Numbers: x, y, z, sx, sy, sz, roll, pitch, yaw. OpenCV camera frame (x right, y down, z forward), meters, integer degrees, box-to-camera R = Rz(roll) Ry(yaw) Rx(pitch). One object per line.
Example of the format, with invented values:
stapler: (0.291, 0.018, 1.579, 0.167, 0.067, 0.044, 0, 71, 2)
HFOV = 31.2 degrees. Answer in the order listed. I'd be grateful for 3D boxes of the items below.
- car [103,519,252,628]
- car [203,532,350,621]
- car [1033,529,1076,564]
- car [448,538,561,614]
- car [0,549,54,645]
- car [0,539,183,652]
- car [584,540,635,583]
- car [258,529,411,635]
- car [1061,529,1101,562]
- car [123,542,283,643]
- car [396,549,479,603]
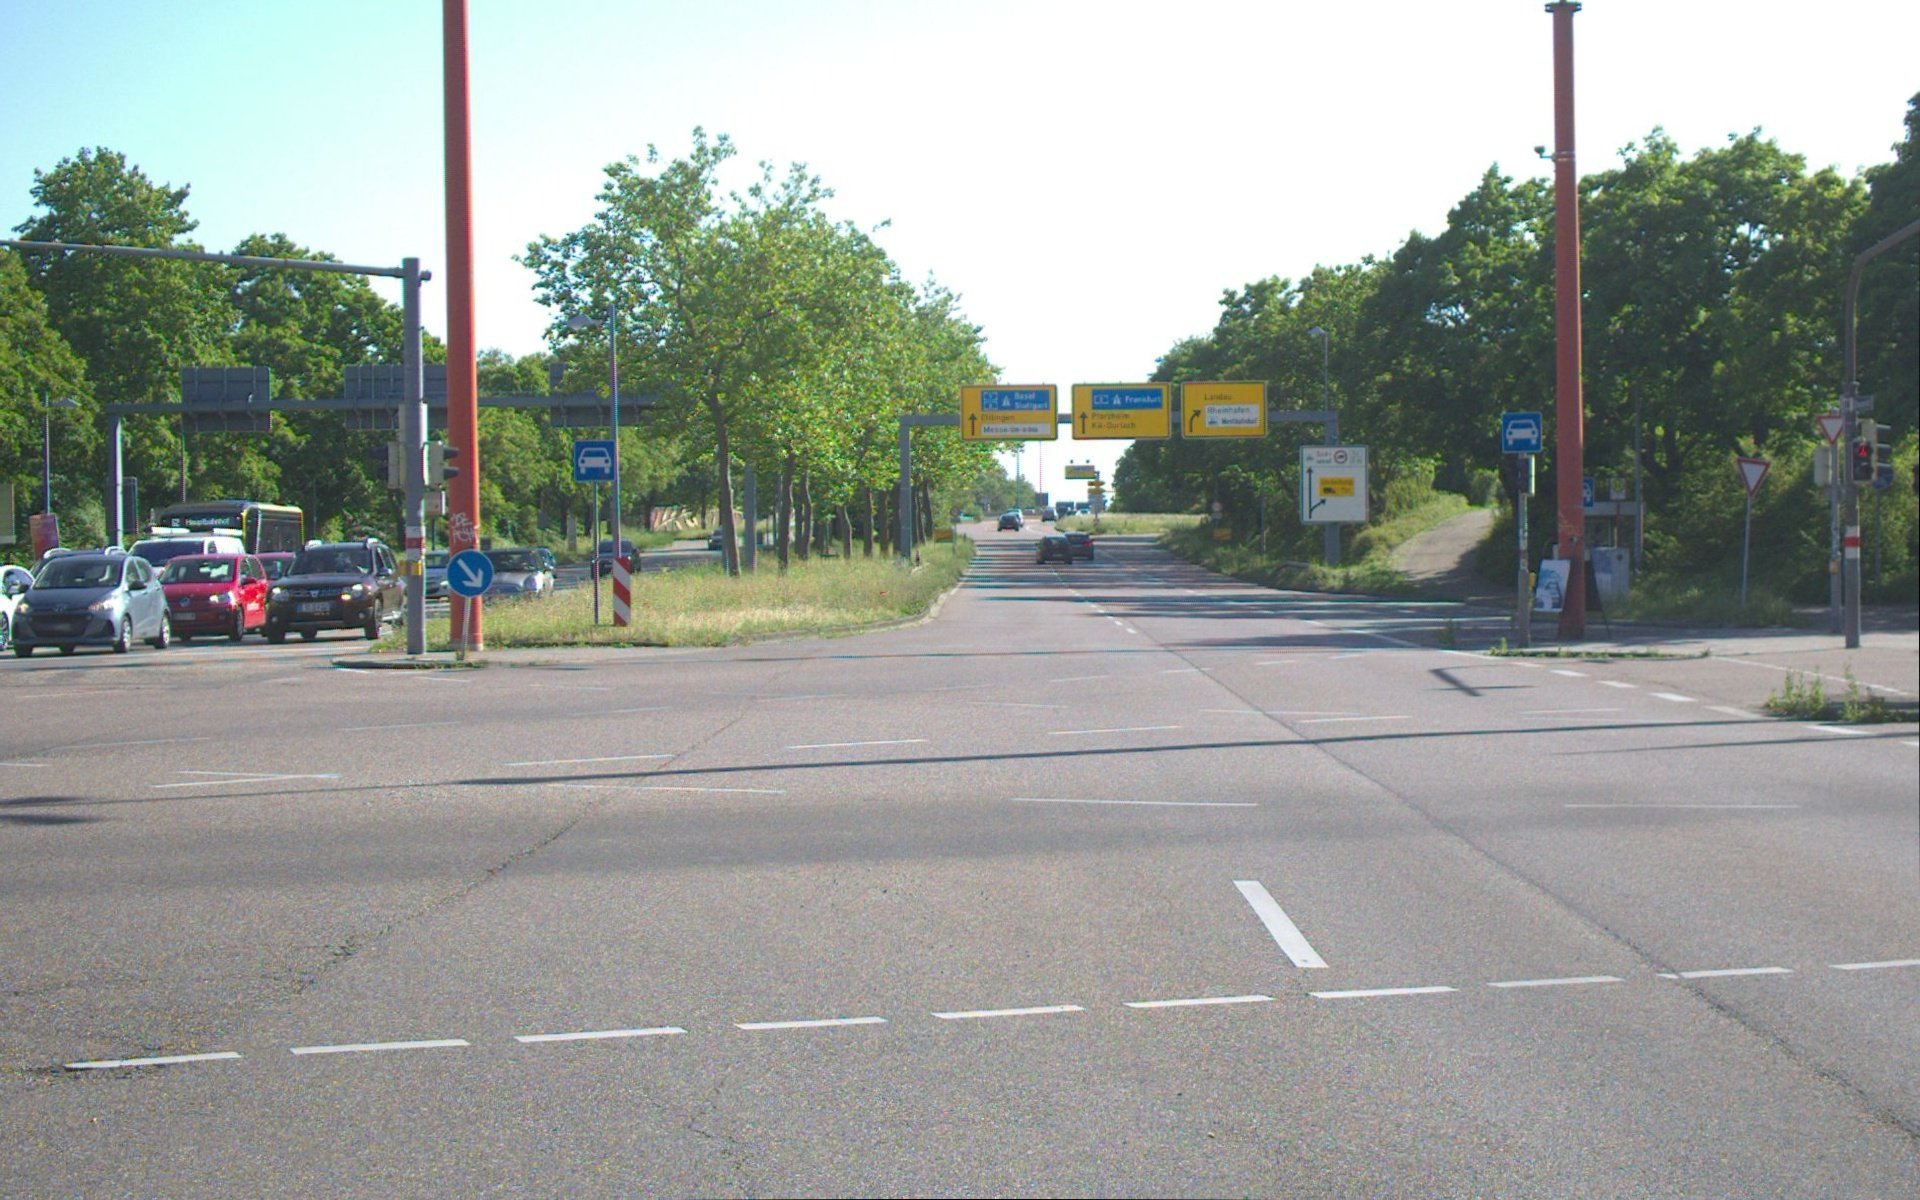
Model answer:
car: (-16.063, -0.566, 70.834, 1.961, 2.147, 5.082, -1, 1, -1)
car: (-12.802, -0.453, 64.629, 1.901, 1.624, 4.000, 0, 1, 1)
car: (4.764, -2.718, 173.981, 1.993, 1.727, 4.000, 1, 1, -1)
car: (-9.761, -0.545, 73.884, 1.885, 1.538, 4.000, -2, 1, -1)
car: (-16.529, -0.049, 57.286, 1.901, 1.549, 4.000, -2, 1, -2)
car: (-13.215, -0.098, 52.295, 1.874, 1.545, 4.028, -2, 1, -1)
car: (-15.320, -1.689, 150.442, 1.837, 1.831, 3.961, 1, 1, -1)
car: (-10.210, -0.327, 56.370, 1.793, 1.620, 4.144, -2, 1, -1)
car: (6.575, -2.962, 186.907, 1.993, 1.727, 4.000, 1, 1, -1)
car: (-12.863, -0.157, 58.633, 1.875, 1.547, 4.000, -4, 1, -2)
car: (-15.651, -0.735, 103.184, 1.885, 1.538, 4.000, -2, 1, -1)
